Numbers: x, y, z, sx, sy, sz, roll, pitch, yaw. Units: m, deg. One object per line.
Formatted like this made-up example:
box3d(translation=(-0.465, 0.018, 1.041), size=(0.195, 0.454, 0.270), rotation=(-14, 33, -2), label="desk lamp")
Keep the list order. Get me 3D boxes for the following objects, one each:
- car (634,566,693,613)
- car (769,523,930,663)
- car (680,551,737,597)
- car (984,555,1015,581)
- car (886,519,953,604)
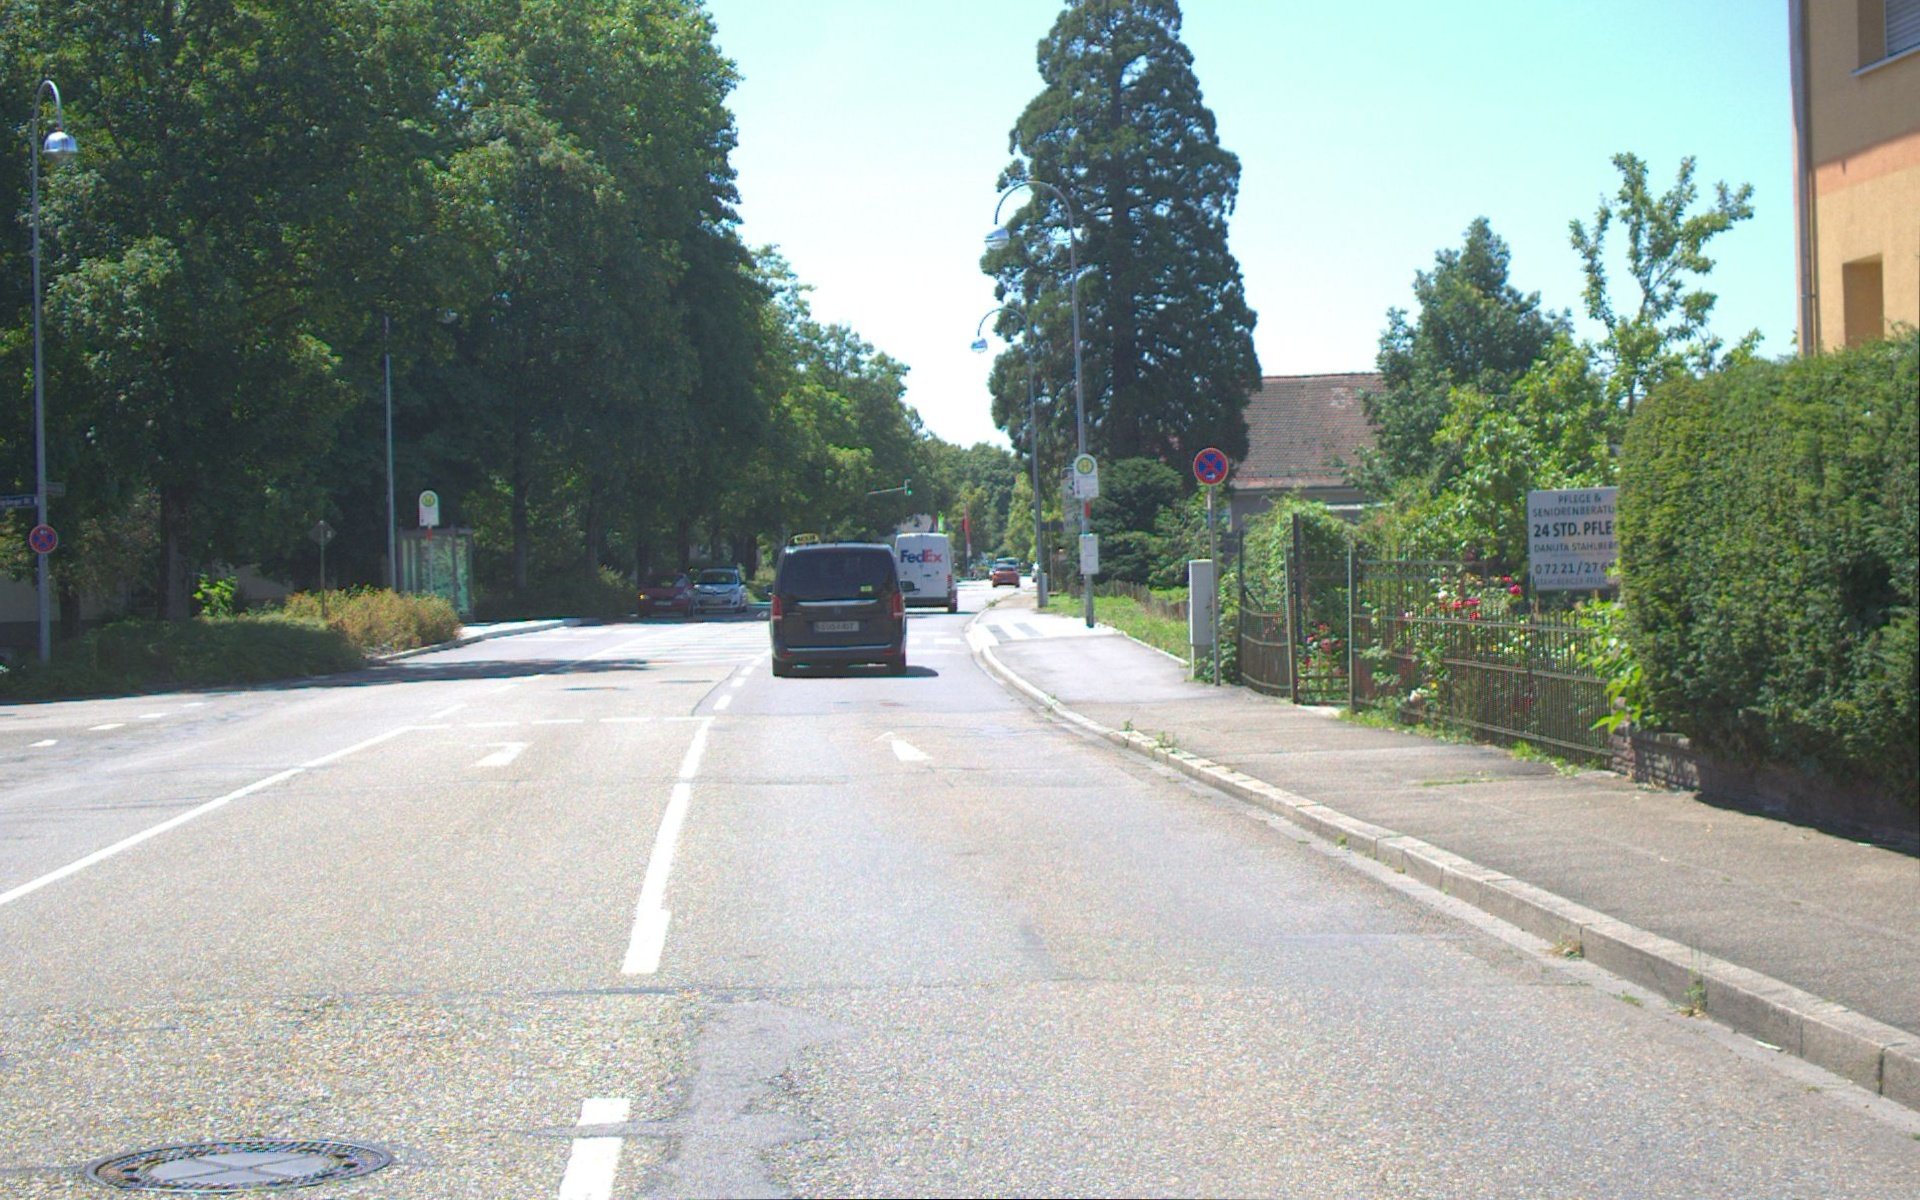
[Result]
box3d(translation=(-9.132, -0.336, 106.045), size=(1.550, 1.445, 3.691), rotation=(0, 1, -1), label="car")
box3d(translation=(-1.517, -0.137, 48.635), size=(1.993, 1.886, 4.000), rotation=(0, 1, 2), label="car")
box3d(translation=(-8.310, -0.886, 113.846), size=(1.690, 1.455, 3.640), rotation=(0, 1, -1), label="car")
box3d(translation=(2.618, -2.129, 227.242), size=(1.857, 1.637, 4.001), rotation=(0, 1, -2), label="car")
box3d(translation=(-1.292, -1.272, 111.797), size=(2.120, 2.668, 5.662), rotation=(0, 1, 0), label="car")
